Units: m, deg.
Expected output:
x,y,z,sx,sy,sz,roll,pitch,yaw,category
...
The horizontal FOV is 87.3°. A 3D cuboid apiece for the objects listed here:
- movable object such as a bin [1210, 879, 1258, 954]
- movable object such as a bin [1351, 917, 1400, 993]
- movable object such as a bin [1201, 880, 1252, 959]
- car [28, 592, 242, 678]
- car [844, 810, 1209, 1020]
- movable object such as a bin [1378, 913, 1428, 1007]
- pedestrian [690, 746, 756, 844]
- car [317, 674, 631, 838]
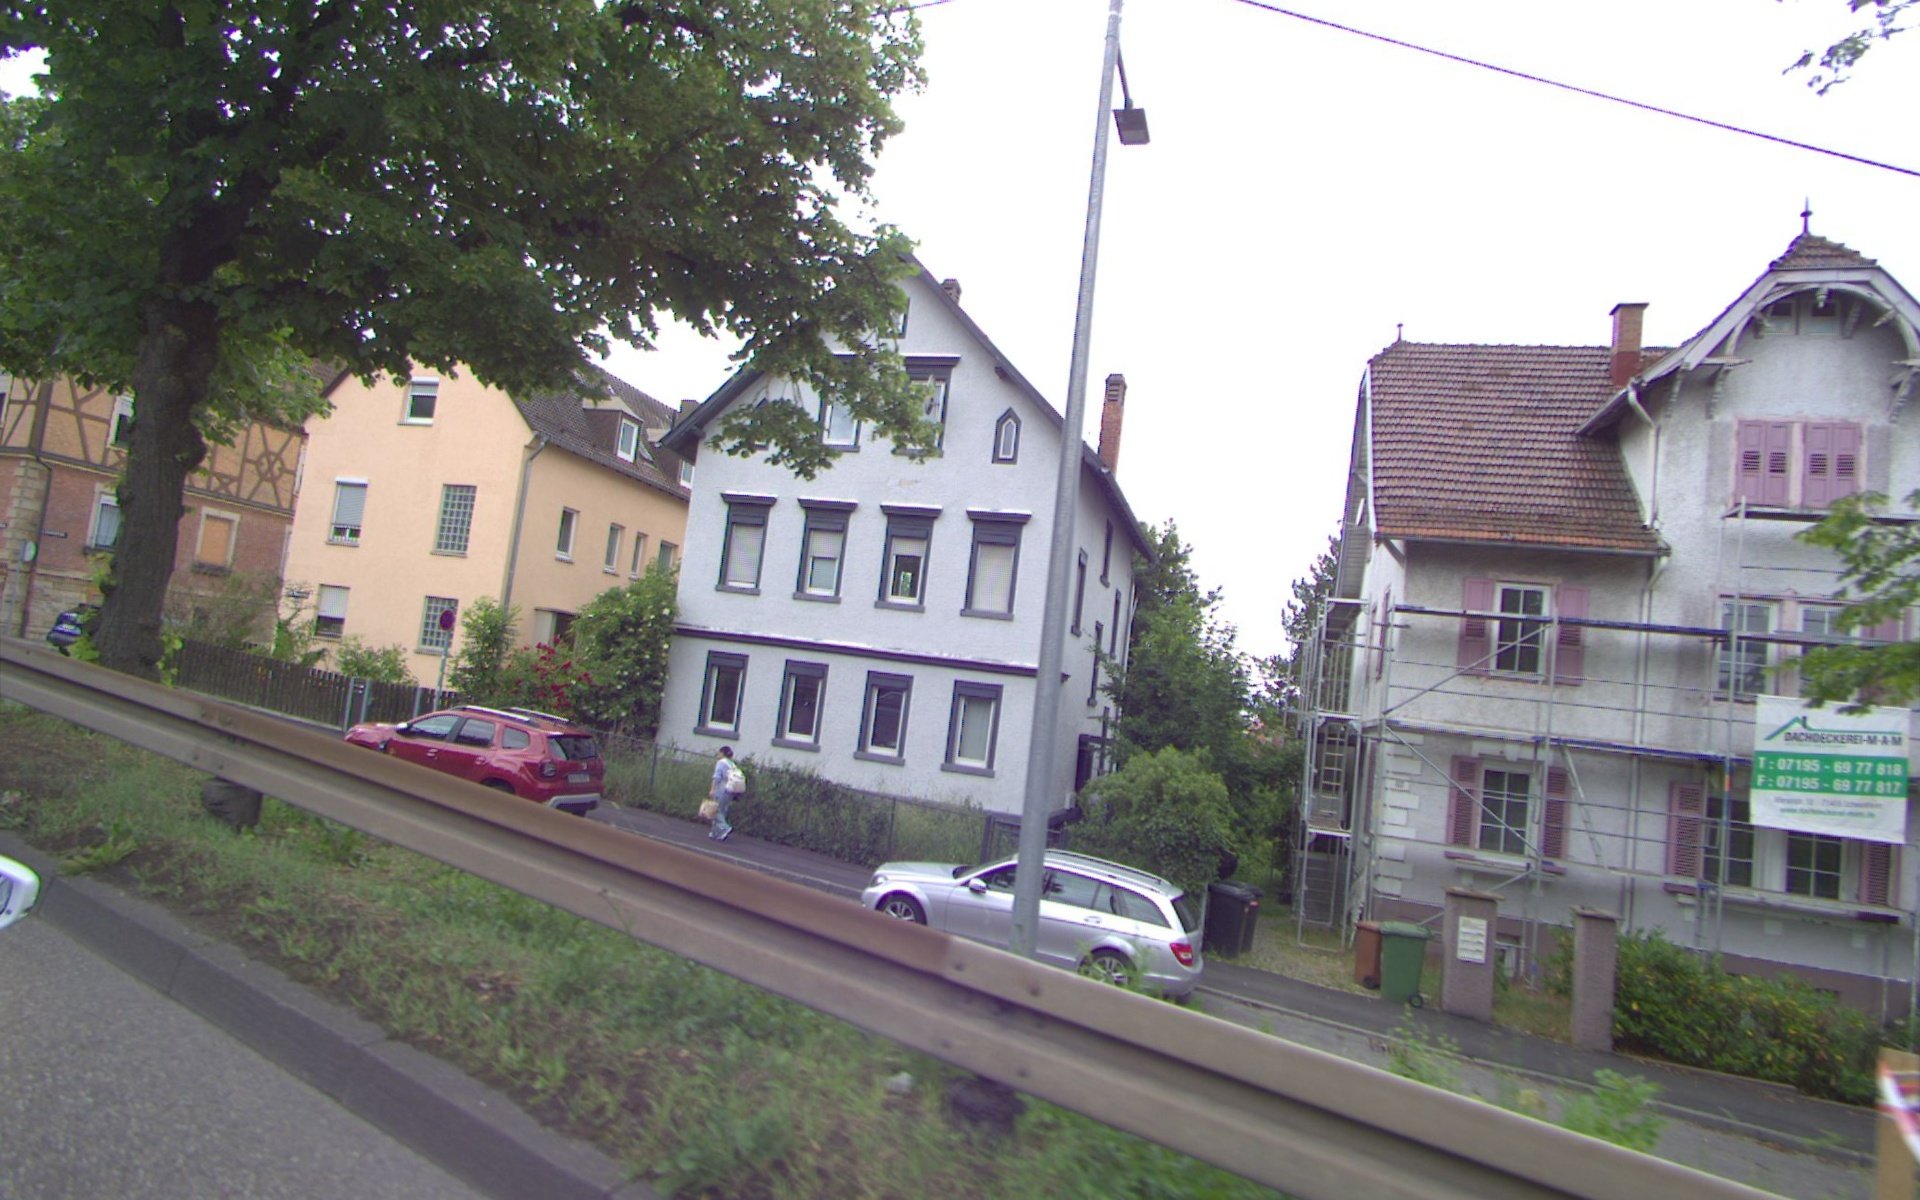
x,y,z,sx,sy,sz,roll,pitch,yaw,category
4.425,5.093,16.227,0.570,0.981,0.538,7,-2,23,movable object such as a bin
6.289,5.360,15.229,0.570,0.892,0.538,7,-2,23,movable object such as a bin
4.143,4.946,15.628,0.570,0.981,0.538,7,-2,23,movable object such as a bin
-22.884,1.042,28.113,1.962,1.588,4.015,9,-7,18,car
0.905,3.970,13.167,4.349,1.455,1.629,9,-5,17,car
6.403,5.199,14.565,0.528,1.091,0.581,7,-2,23,movable object such as a bin
-3.924,3.208,16.658,0.578,1.495,0.621,8,-4,19,pedestrian
-7.650,2.411,15.949,4.124,1.686,1.793,9,-5,17,car
